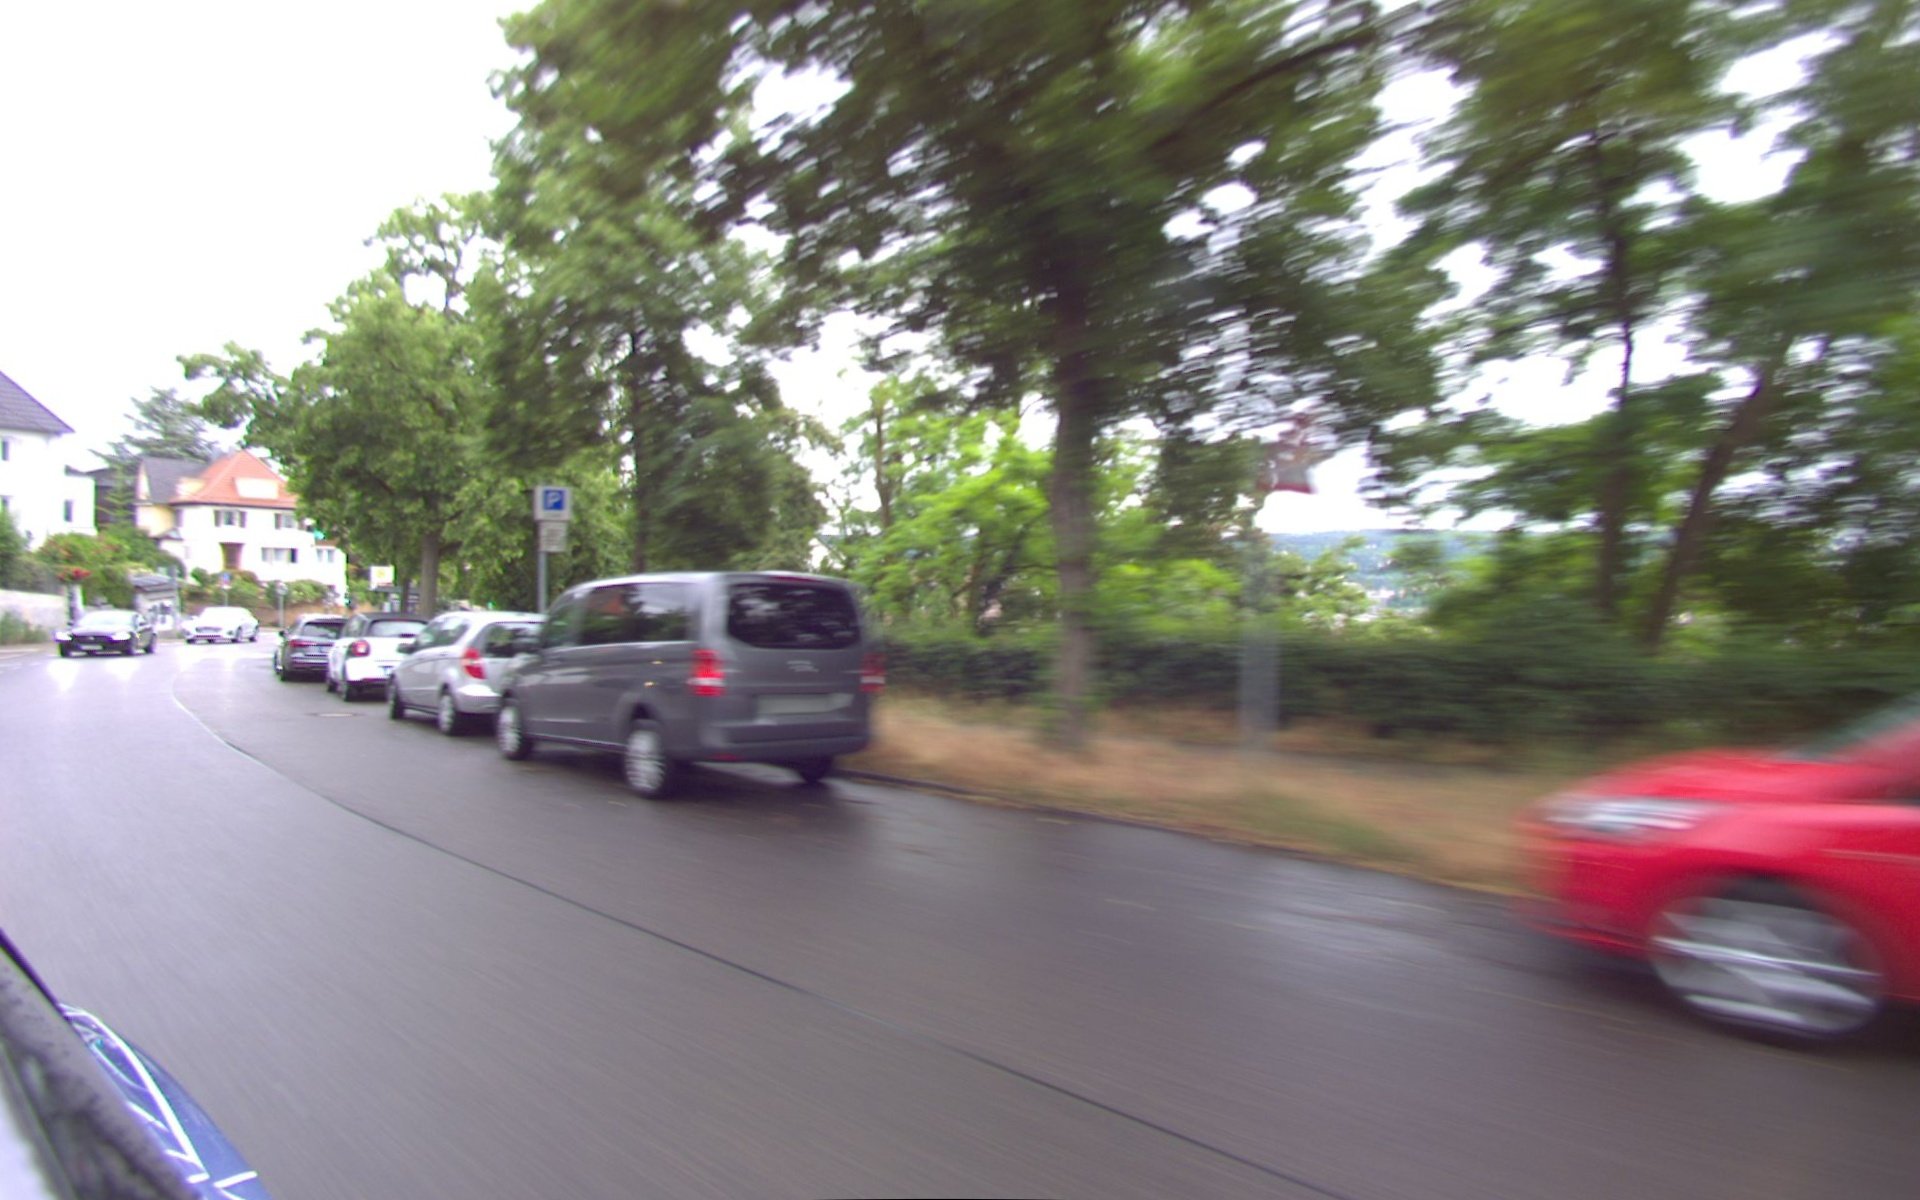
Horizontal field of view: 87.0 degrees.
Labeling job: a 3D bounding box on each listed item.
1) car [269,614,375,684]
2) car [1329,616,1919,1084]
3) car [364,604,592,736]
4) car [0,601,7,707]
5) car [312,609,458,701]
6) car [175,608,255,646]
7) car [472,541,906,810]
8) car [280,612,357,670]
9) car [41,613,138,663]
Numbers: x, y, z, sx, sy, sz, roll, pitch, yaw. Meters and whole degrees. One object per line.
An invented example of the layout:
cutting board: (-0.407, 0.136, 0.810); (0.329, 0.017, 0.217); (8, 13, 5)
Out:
car: (-14.738, 1.079, 23.278); (1.661, 1.391, 4.511); (5, -3, -36)
car: (3.972, 0.825, 3.695); (4.571, 1.472, 1.935); (-1, -4, 40)
car: (-6.818, 0.904, 14.137); (1.664, 1.564, 3.769); (5, -3, -44)
car: (-12.786, 0.748, 11.923); (1.776, 1.437, 4.392); (-2, 1, -37)
car: (-10.891, 0.978, 19.025); (1.662, 1.521, 4.214); (5, -3, -39)
car: (-34.009, 1.213, 46.340); (1.997, 1.641, 4.242); (2, -1, -23)
car: (-2.899, 0.663, 9.972); (1.931, 1.983, 5.006); (4, -4, -44)
car: (-17.787, 1.103, 28.166); (1.632, 1.440, 4.388); (3, -2, -31)
car: (-27.648, 1.151, 32.271); (1.999, 1.474, 4.009); (0, -1, -36)
